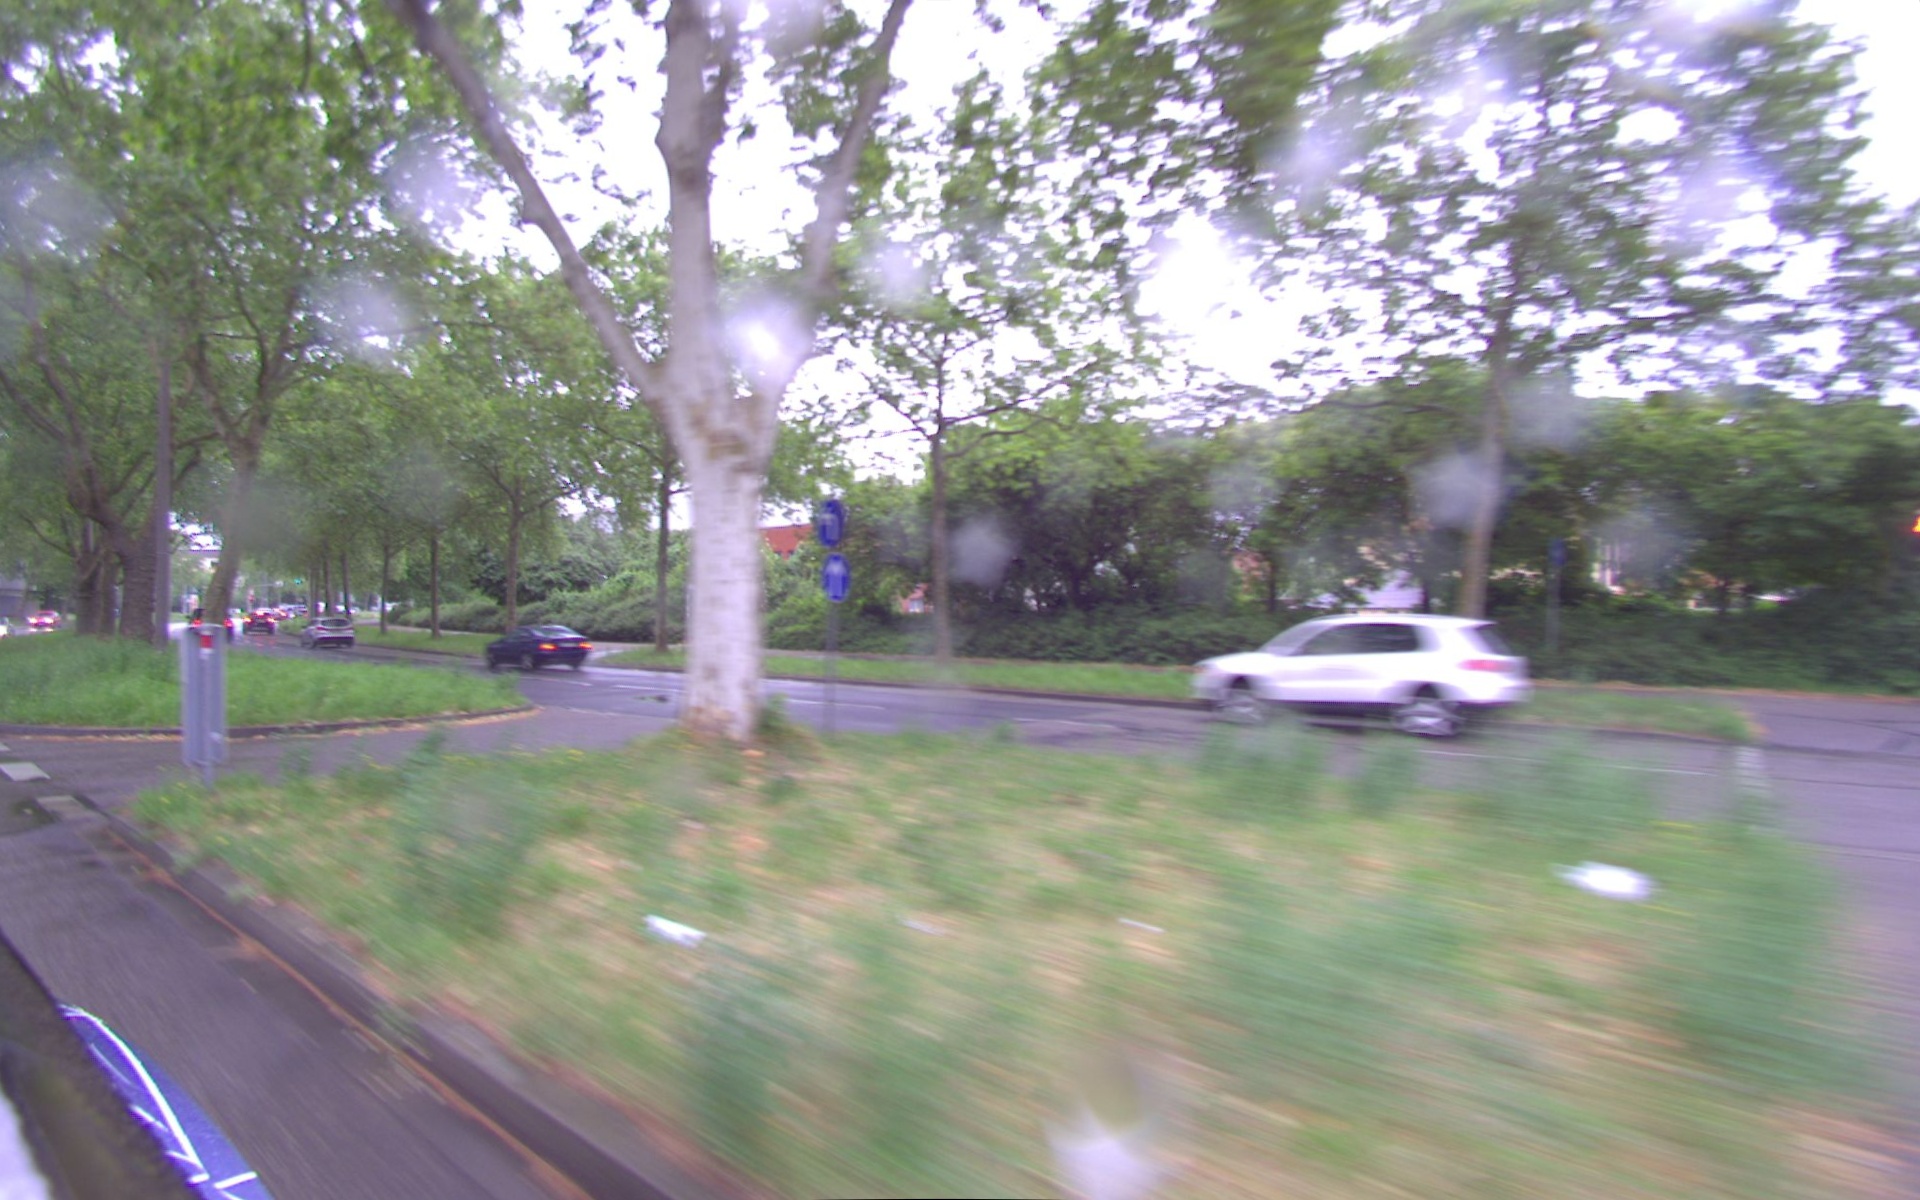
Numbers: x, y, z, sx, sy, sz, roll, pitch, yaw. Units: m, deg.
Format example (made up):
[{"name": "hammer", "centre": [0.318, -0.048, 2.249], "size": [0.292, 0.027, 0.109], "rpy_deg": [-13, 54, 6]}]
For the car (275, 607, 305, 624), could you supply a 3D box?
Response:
[{"name": "car", "centre": [-87.095, 1.977, 131.613], "size": [2.001, 2.243, 5.451], "rpy_deg": [0, -1, -19]}]

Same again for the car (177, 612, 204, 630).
[{"name": "car", "centre": [-71.181, 1.952, 93.544], "size": [1.722, 1.603, 4.336], "rpy_deg": [0, -1, -41]}]

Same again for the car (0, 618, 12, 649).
[{"name": "car", "centre": [-54.617, 1.854, 56.561], "size": [1.968, 1.642, 4.531], "rpy_deg": [0, 0, -38]}]

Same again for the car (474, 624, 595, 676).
[{"name": "car", "centre": [-13.174, 1.529, 31.221], "size": [4.443, 1.450, 1.725], "rpy_deg": [-3, -2, 42]}]

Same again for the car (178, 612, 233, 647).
[{"name": "car", "centre": [-41.755, 1.570, 55.967], "size": [1.723, 1.856, 5.123], "rpy_deg": [0, -1, -45]}]

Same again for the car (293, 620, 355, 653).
[{"name": "car", "centre": [-30.931, 1.729, 49.165], "size": [1.723, 1.487, 4.238], "rpy_deg": [0, -1, -44]}]

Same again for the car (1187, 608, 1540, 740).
[{"name": "car", "centre": [5.709, 0.939, 14.627], "size": [4.439, 1.644, 1.726], "rpy_deg": [-1, -1, 39]}]
